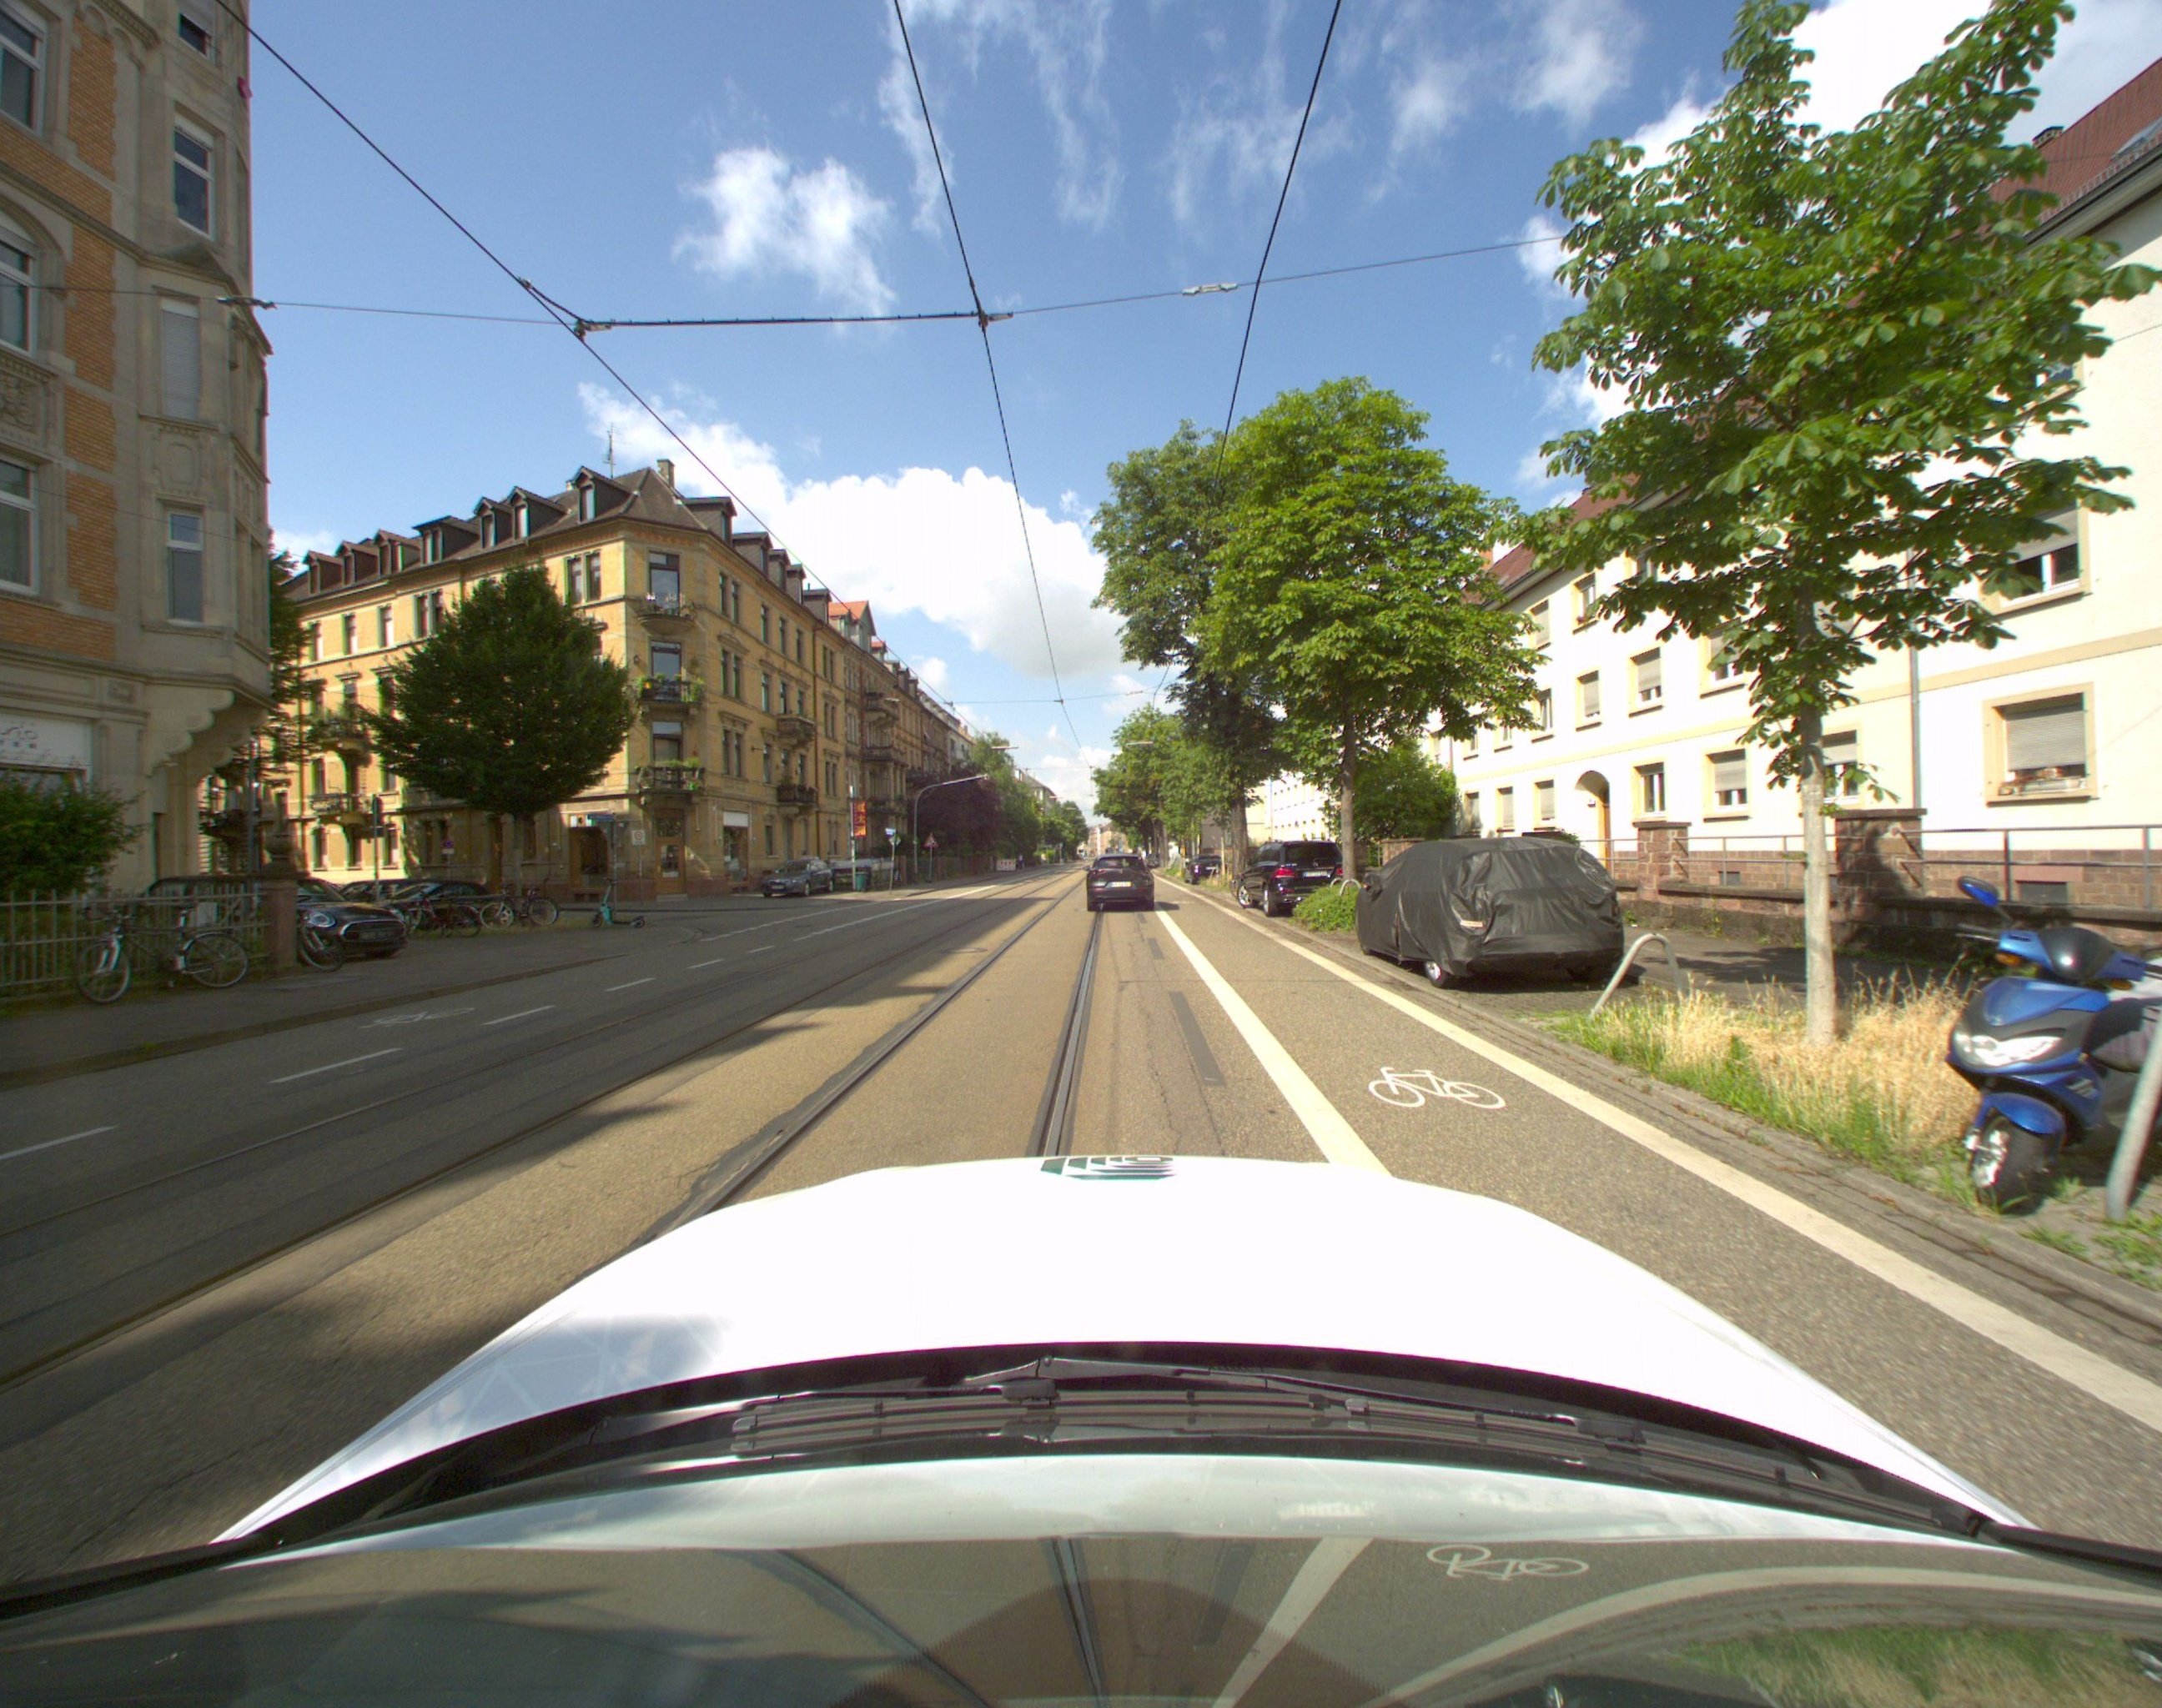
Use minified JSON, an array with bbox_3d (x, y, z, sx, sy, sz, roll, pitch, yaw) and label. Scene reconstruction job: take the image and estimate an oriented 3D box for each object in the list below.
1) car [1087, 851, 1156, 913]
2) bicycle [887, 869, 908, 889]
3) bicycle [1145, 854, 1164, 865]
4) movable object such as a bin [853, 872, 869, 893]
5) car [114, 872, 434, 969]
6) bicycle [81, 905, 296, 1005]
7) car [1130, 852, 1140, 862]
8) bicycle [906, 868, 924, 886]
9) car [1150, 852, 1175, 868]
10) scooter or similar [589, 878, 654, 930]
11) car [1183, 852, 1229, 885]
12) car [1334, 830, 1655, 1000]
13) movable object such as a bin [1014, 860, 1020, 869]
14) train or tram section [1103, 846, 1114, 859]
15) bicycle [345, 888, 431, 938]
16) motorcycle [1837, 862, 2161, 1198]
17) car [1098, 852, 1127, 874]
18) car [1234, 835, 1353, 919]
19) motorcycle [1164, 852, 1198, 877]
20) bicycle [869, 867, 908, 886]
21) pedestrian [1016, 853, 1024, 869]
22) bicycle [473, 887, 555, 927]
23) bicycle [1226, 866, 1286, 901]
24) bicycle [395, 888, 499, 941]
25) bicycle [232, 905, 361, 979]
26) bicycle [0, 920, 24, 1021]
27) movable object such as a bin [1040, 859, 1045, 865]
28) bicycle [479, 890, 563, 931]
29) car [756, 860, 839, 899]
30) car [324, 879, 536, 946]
[{"bbox_3d":[1.080,0.716,22.438,1.714,1.526,3.591,-1,0,2],"label":"car"},{"bbox_3d":[-9.418,1.267,41.774,0.528,0.946,1.969,-2,0,2],"label":"bicycle"},{"bbox_3d":[8.208,0.586,91.045,1.923,1.176,0.515,-3,-1,13],"label":"bicycle"},{"bbox_3d":[-10.116,1.312,37.484,0.523,0.906,0.636,-2,0,0],"label":"movable object such as a bin"},{"bbox_3d":[-13.010,1.040,13.272,3.585,1.403,1.790,-1,0,6],"label":"car"},{"bbox_3d":[-10.789,1.177,9.961,0.419,0.976,1.950,-1,0,2],"label":"bicycle"},{"bbox_3d":[10.231,0.559,154.039,1.713,1.968,4.210,-1,0,3],"label":"car"},{"bbox_3d":[-9.293,1.267,45.732,0.528,0.946,1.969,-2,0,2],"label":"bicycle"},{"bbox_3d":[7.753,0.567,78.079,1.841,1.409,4.393,-3,0,-1],"label":"car"},{"bbox_3d":[-11.362,1.225,20.183,1.368,1.235,0.400,0,-1,-27],"label":"scooter or similar"},{"bbox_3d":[6.029,0.683,39.631,1.699,1.479,4.198,1,0,2],"label":"car"},{"bbox_3d":[4.842,0.606,10.449,1.855,1.653,4.639,-1,0,2],"label":"car"},{"bbox_3d":[-7.855,1.294,99.655,0.535,1.094,0.791,-1,0,7],"label":"movable object such as a bin"},{"bbox_3d":[8.658,-0.445,257.352,2.565,3.772,13.016,-1,0,-2],"label":"train or tram section"},{"bbox_3d":[-15.501,1.311,18.221,1.681,1.063,0.526,-1,0,12],"label":"bicycle"},{"bbox_3d":[4.838,0.725,3.776,2.001,1.337,0.747,-1,0,-2],"label":"motorcycle"},{"bbox_3d":[2.311,0.641,60.032,1.986,1.529,4.002,1,0,2],"label":"car"},{"bbox_3d":[5.079,0.487,20.174,1.820,1.782,4.735,-2,0,2],"label":"car"},{"bbox_3d":[6.805,0.698,55.419,2.357,1.597,0.683,1,1,41],"label":"motorcycle"},{"bbox_3d":[-10.390,1.194,44.094,1.957,0.946,0.531,-2,0,-3],"label":"bicycle"},{"bbox_3d":[-6.748,0.796,90.610,0.820,1.706,0.891,-1,-1,-1],"label":"pedestrian"},{"bbox_3d":[-13.931,1.296,20.068,0.519,0.837,1.705,-1,1,15],"label":"bicycle"},{"bbox_3d":[5.407,0.918,25.205,1.701,1.007,0.638,-2,0,2],"label":"bicycle"},{"bbox_3d":[-13.667,1.296,17.584,1.750,1.063,0.524,-2,0,-4],"label":"bicycle"},{"bbox_3d":[-11.229,1.250,11.668,1.447,0.976,0.404,-2,0,1],"label":"bicycle"},{"bbox_3d":[-10.843,1.158,7.191,0.419,0.976,1.950,-1,0,2],"label":"bicycle"},{"bbox_3d":[-5.951,1.260,126.359,0.742,0.988,1.115,1,0,2],"label":"movable object such as a bin"},{"bbox_3d":[-13.413,1.347,19.553,0.519,0.837,1.705,-1,1,15],"label":"bicycle"},{"bbox_3d":[-12.153,1.044,35.249,1.679,1.459,4.767,-2,0,2],"label":"car"},{"bbox_3d":[-16.558,1.436,20.958,1.625,1.360,3.947,-2,0,21],"label":"car"}]
